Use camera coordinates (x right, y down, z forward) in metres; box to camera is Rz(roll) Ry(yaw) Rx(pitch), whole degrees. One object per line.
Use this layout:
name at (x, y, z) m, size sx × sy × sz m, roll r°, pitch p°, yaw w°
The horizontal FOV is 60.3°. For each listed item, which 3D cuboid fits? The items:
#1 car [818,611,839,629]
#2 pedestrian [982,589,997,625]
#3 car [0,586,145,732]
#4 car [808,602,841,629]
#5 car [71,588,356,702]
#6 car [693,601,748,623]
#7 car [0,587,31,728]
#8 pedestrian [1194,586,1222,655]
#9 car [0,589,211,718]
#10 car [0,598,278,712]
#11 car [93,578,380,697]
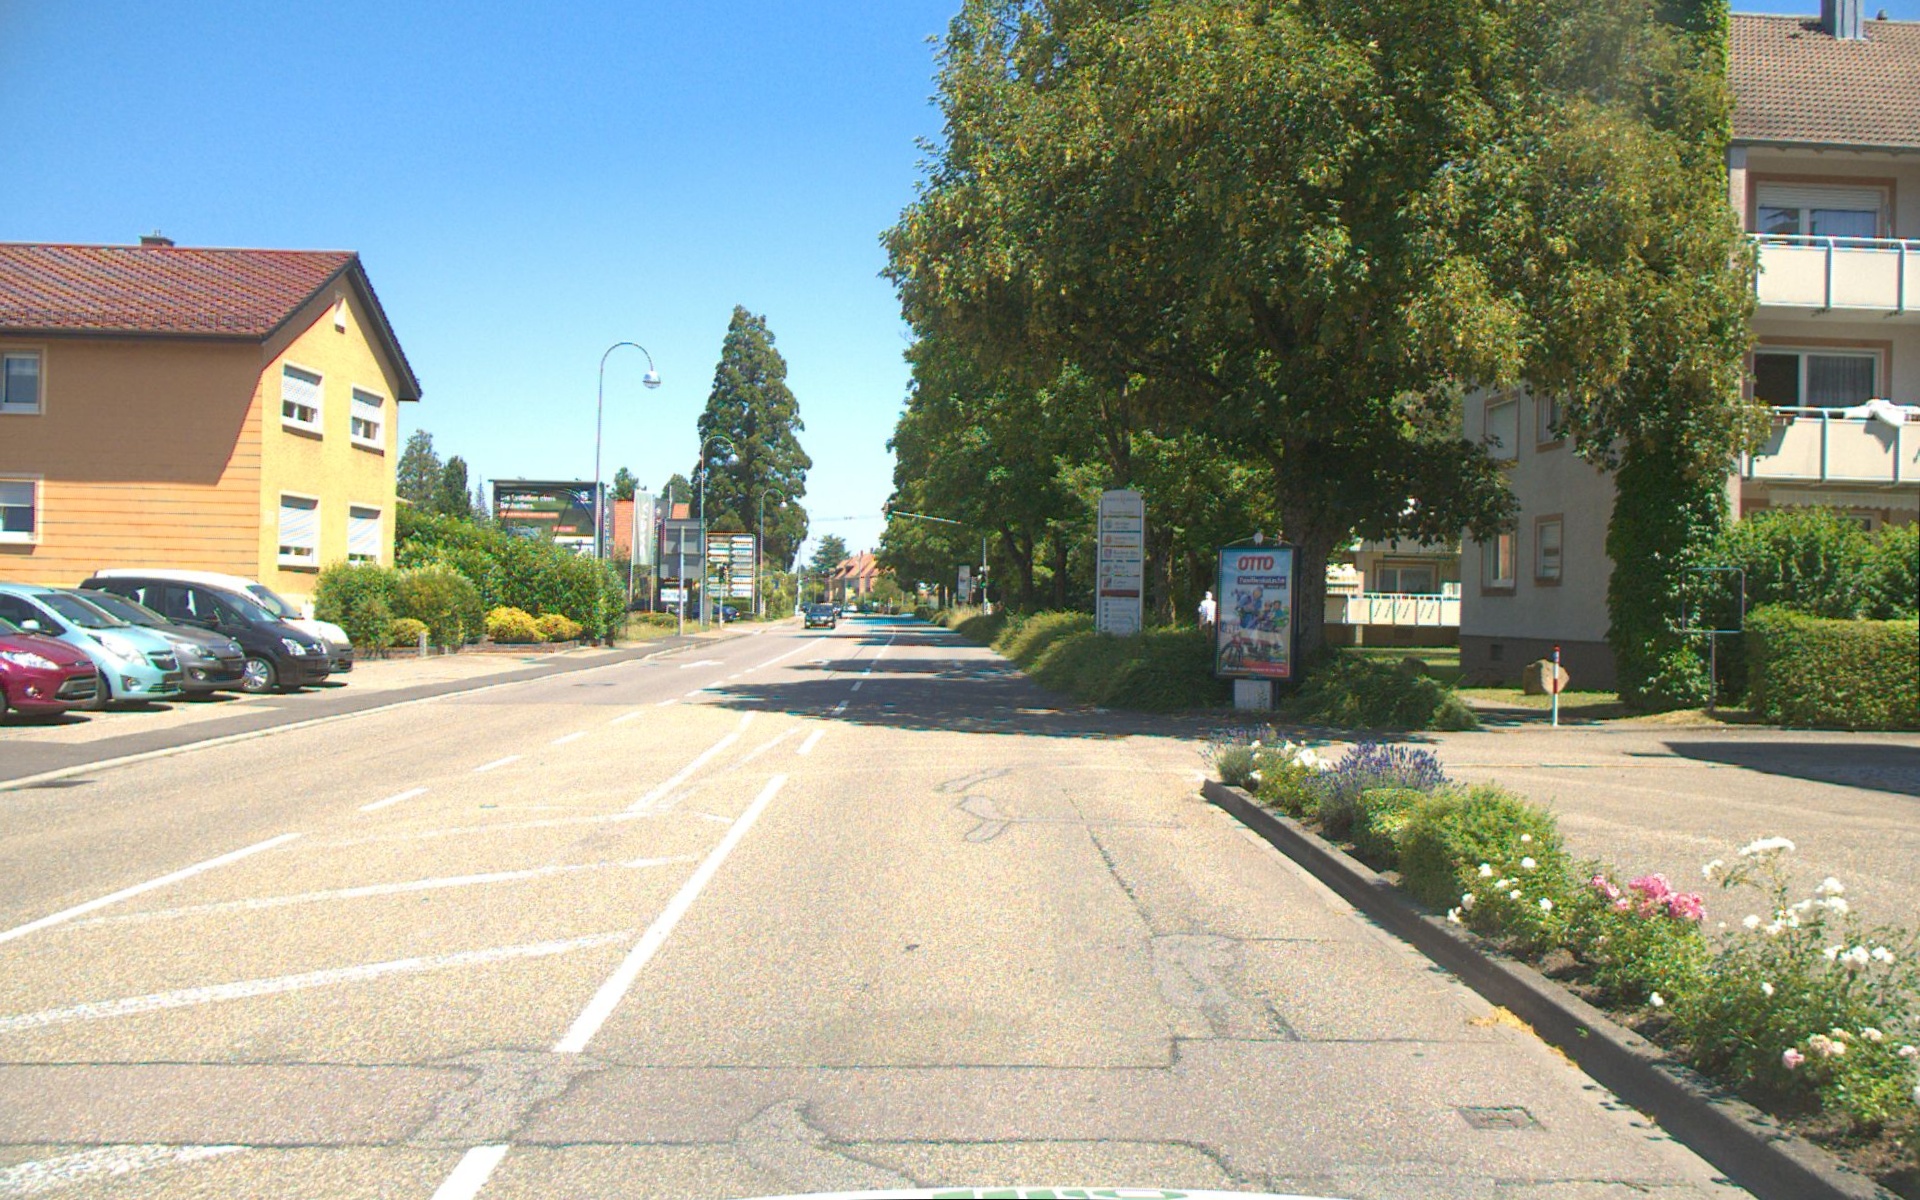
car at (-13.611, 2.054, 171.381) m, size 1.841 × 1.748 × 4.308 m, roll 0°, pitch 0°, yaw -1°
pedestrian at (1.481, 0.359, 83.291) m, size 0.600 × 1.782 × 0.562 m, roll 0°, pitch -1°, yaw 19°
car at (-11.815, 0.673, 19.373) m, size 3.591 × 1.633 × 1.880 m, roll 0°, pitch -1°, yaw -3°
car at (-7.926, 0.914, 97.086) m, size 1.675 × 1.521 × 4.276 m, roll 0°, pitch 0°, yaw -2°
car at (-11.604, 0.683, 25.922) m, size 3.591 × 1.702 × 1.921 m, roll 0°, pitch -1°, yaw -3°
car at (-15.971, 0.774, 110.491) m, size 3.419 × 1.452 × 1.601 m, roll 0°, pitch 0°, yaw 0°
car at (-11.845, 0.600, 16.923) m, size 3.591 × 1.483 × 1.891 m, roll 0°, pitch -1°, yaw -3°
pedestrian at (7.066, 0.586, 47.111) m, size 0.689 × 1.948 × 0.660 m, roll -1°, pitch 0°, yaw 2°
car at (-12.005, 0.677, 21.591) m, size 3.591 × 1.608 × 1.921 m, roll 0°, pitch -1°, yaw -3°
car at (-11.958, 0.767, 23.704) m, size 3.591 × 1.558 × 1.921 m, roll 0°, pitch -1°, yaw -3°
car at (-12.174, 0.615, 28.066) m, size 4.014 × 1.931 × 1.997 m, roll 0°, pitch -1°, yaw -6°
